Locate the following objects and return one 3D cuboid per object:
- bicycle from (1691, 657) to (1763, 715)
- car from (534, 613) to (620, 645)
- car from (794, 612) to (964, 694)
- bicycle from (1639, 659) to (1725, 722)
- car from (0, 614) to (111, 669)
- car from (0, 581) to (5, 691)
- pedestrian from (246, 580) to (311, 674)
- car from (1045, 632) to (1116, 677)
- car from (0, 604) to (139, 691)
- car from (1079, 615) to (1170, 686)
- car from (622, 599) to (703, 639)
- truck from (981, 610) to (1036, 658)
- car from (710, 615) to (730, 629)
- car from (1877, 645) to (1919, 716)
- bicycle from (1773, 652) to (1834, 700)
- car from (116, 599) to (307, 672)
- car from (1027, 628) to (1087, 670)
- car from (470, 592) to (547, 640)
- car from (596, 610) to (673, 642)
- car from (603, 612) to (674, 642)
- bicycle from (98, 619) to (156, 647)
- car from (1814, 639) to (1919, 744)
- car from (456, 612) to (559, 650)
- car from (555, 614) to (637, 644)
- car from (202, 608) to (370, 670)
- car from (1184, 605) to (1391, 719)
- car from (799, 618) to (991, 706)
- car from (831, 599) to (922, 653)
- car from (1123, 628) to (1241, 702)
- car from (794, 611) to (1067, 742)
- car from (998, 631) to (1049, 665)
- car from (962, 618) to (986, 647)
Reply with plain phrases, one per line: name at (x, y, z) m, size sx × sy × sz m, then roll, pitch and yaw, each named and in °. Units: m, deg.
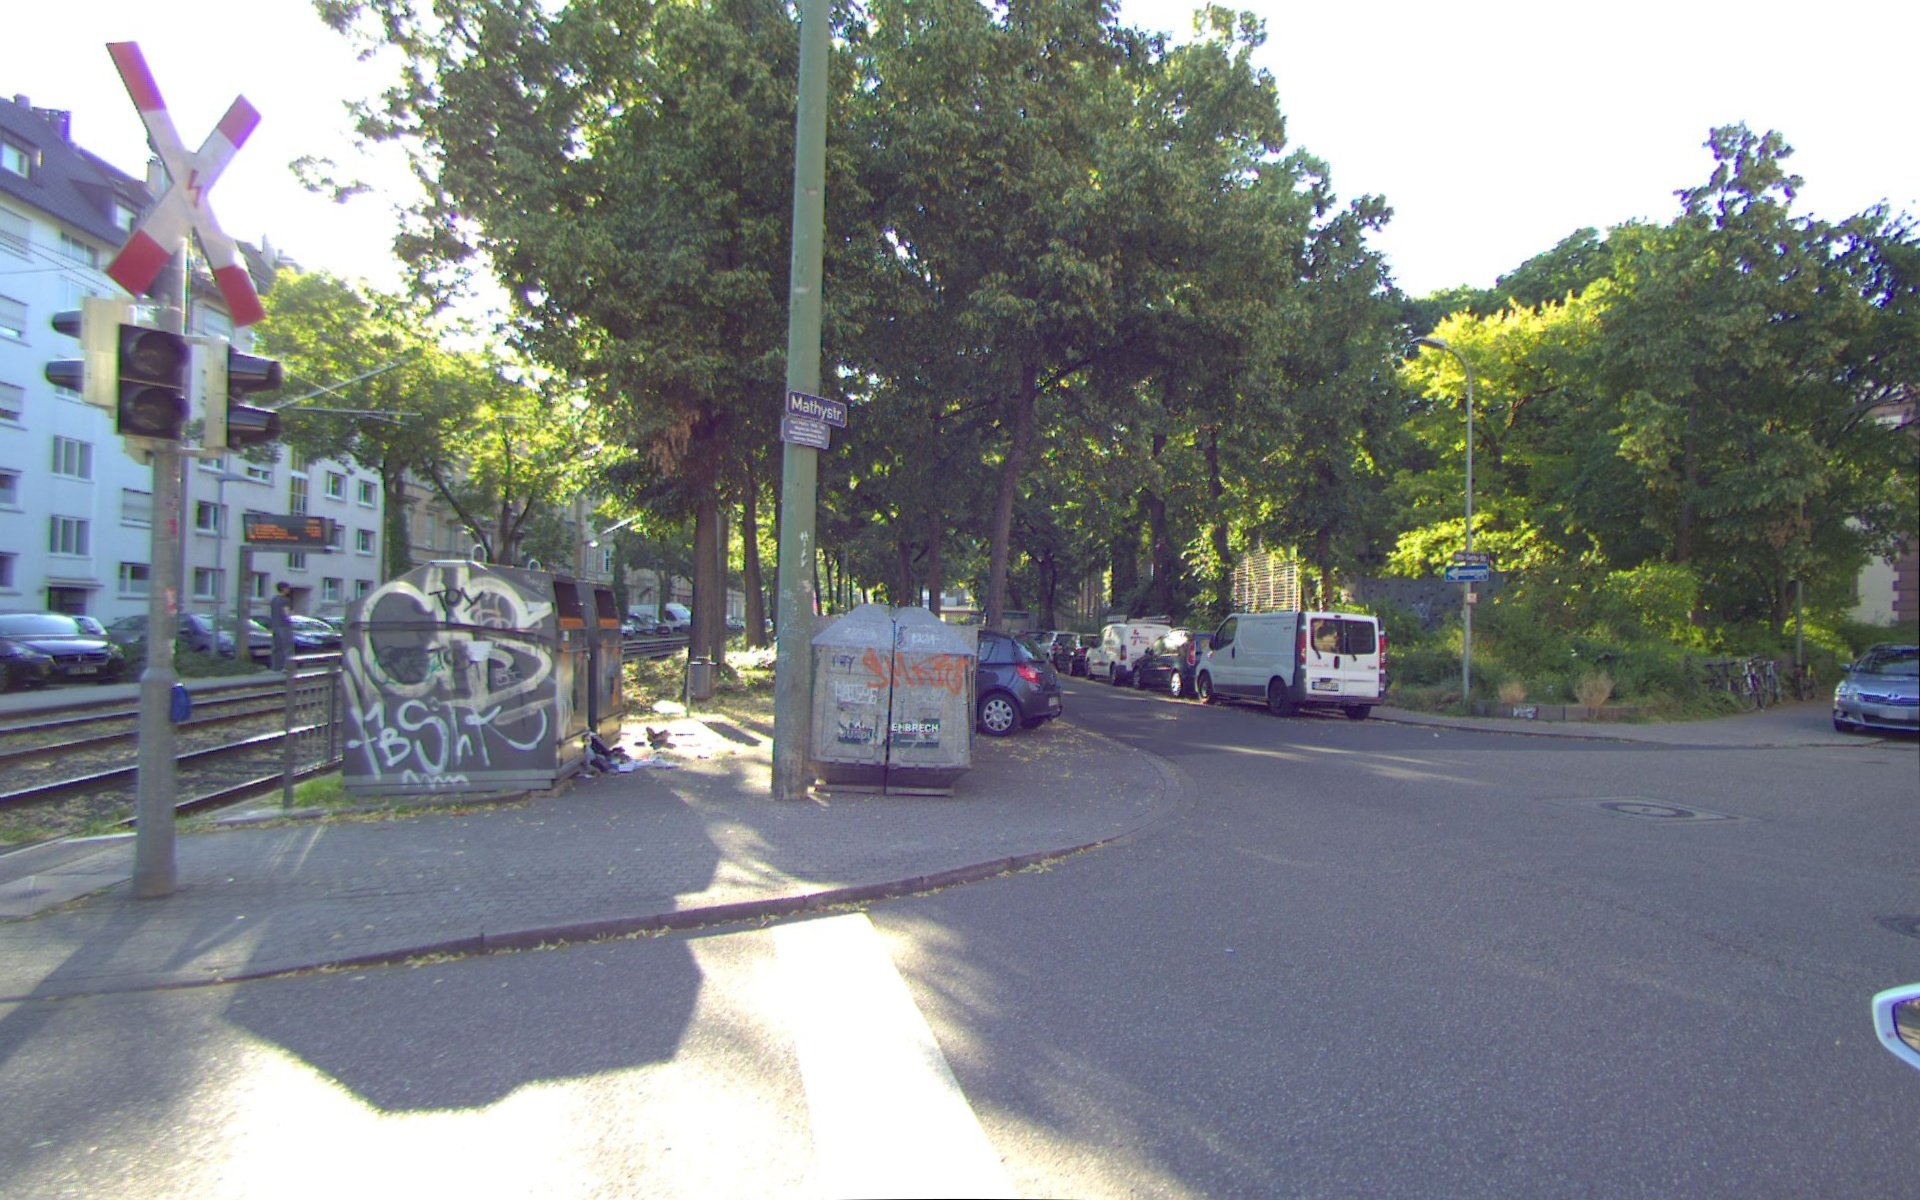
bicycle at (16.065, 1.775, 21.004) m, size 2.605 × 1.116 × 0.592 m, roll 2°, pitch -1°, yaw -39°
car at (-20.334, 1.555, 53.294) m, size 4.161 × 1.492 × 1.856 m, roll -3°, pitch -1°, yaw 24°
car at (-1.878, 1.209, 23.537) m, size 3.547 × 1.583 × 1.608 m, roll 4°, pitch 0°, yaw 20°
bicycle at (13.937, 1.706, 19.352) m, size 2.603 × 1.116 × 0.592 m, roll 2°, pitch -1°, yaw -37°
car at (-26.092, 1.112, 27.901) m, size 1.683 × 1.465 × 3.999 m, roll 0°, pitch -1°, yaw -2°
car at (-16.750, 0.652, 15.493) m, size 4.164 × 1.674 × 1.605 m, roll -3°, pitch -1°, yaw 27°
pedestrian at (-14.423, 0.568, 21.283) m, size 0.836 × 1.936 × 0.835 m, roll 1°, pitch -1°, yaw -14°
car at (4.094, 1.839, 34.499) m, size 1.547 × 1.404 × 3.596 m, roll 1°, pitch -1°, yaw -8°
car at (-17.433, 0.903, 18.510) m, size 4.124 × 1.455 × 1.700 m, roll -3°, pitch -1°, yaw 21°
car at (4.759, 1.439, 29.592) m, size 1.547 × 1.929 × 3.897 m, roll 1°, pitch -1°, yaw -8°
car at (-21.091, 1.337, 71.234) m, size 5.170 × 2.605 × 2.271 m, roll -3°, pitch -1°, yaw 24°
truck at (2.497, 1.751, 52.770) m, size 2.328 × 2.383 × 4.382 m, roll 1°, pitch -1°, yaw -4°
car at (-32.230, 2.938, 134.943) m, size 1.682 × 1.844 × 4.000 m, roll 0°, pitch -1°, yaw 0°
car at (22.324, 1.831, 22.617) m, size 3.896 × 1.466 × 1.812 m, roll 2°, pitch 2°, yaw -38°
bicycle at (21.078, 1.869, 25.080) m, size 2.603 × 1.116 × 0.592 m, roll 2°, pitch -1°, yaw -37°
car at (-17.780, 0.840, 23.854) m, size 4.159 × 1.528 × 1.607 m, roll -3°, pitch -1°, yaw 20°
car at (3.741, 1.892, 39.386) m, size 1.547 × 1.486 × 3.596 m, roll 1°, pitch -1°, yaw -8°
car at (-28.724, 1.026, 64.105) m, size 2.511 × 2.925 × 5.480 m, roll 0°, pitch -1°, yaw -2°
car at (-19.441, 1.556, 60.016) m, size 4.161 × 1.721 × 1.856 m, roll -3°, pitch -1°, yaw 24°
car at (-20.793, 1.723, 64.969) m, size 4.161 × 1.721 × 1.856 m, roll -3°, pitch -1°, yaw 24°
bicycle at (-31.986, 1.261, 38.617) m, size 0.523 × 1.016 × 2.174 m, roll 1°, pitch -1°, yaw -5°
car at (17.407, 1.617, 18.390) m, size 4.253 × 1.636 × 1.812 m, roll 2°, pitch 2°, yaw -38°
car at (-20.133, 1.381, 44.670) m, size 4.161 × 1.492 × 1.856 m, roll -3°, pitch -1°, yaw 24°
car at (-20.242, 1.610, 55.865) m, size 4.161 × 1.492 × 1.856 m, roll -3°, pitch -1°, yaw 24°
car at (-18.233, 1.057, 27.162) m, size 4.159 × 1.478 × 1.607 m, roll -3°, pitch -1°, yaw 20°
car at (6.446, 1.168, 20.426) m, size 1.916 × 2.030 × 4.649 m, roll 1°, pitch -1°, yaw -12°
car at (-1.324, 1.234, 20.807) m, size 3.547 × 1.466 × 1.608 m, roll 4°, pitch 0°, yaw 19°
car at (-4.479, 1.391, 53.833) m, size 4.416 × 2.508 × 1.818 m, roll 3°, pitch -2°, yaw 27°
car at (5.440, 1.549, 25.062) m, size 1.548 × 1.659 × 3.705 m, roll 1°, pitch -1°, yaw -11°
car at (-0.418, 1.071, 14.994) m, size 3.662 × 1.540 × 1.608 m, roll 4°, pitch 0°, yaw 19°
car at (2.791, 2.102, 44.910) m, size 1.547 × 1.403 × 3.596 m, roll 1°, pitch -1°, yaw -8°
car at (0.971, 2.288, 71.800) m, size 1.545 × 1.967 × 3.600 m, roll 1°, pitch -1°, yaw -1°
